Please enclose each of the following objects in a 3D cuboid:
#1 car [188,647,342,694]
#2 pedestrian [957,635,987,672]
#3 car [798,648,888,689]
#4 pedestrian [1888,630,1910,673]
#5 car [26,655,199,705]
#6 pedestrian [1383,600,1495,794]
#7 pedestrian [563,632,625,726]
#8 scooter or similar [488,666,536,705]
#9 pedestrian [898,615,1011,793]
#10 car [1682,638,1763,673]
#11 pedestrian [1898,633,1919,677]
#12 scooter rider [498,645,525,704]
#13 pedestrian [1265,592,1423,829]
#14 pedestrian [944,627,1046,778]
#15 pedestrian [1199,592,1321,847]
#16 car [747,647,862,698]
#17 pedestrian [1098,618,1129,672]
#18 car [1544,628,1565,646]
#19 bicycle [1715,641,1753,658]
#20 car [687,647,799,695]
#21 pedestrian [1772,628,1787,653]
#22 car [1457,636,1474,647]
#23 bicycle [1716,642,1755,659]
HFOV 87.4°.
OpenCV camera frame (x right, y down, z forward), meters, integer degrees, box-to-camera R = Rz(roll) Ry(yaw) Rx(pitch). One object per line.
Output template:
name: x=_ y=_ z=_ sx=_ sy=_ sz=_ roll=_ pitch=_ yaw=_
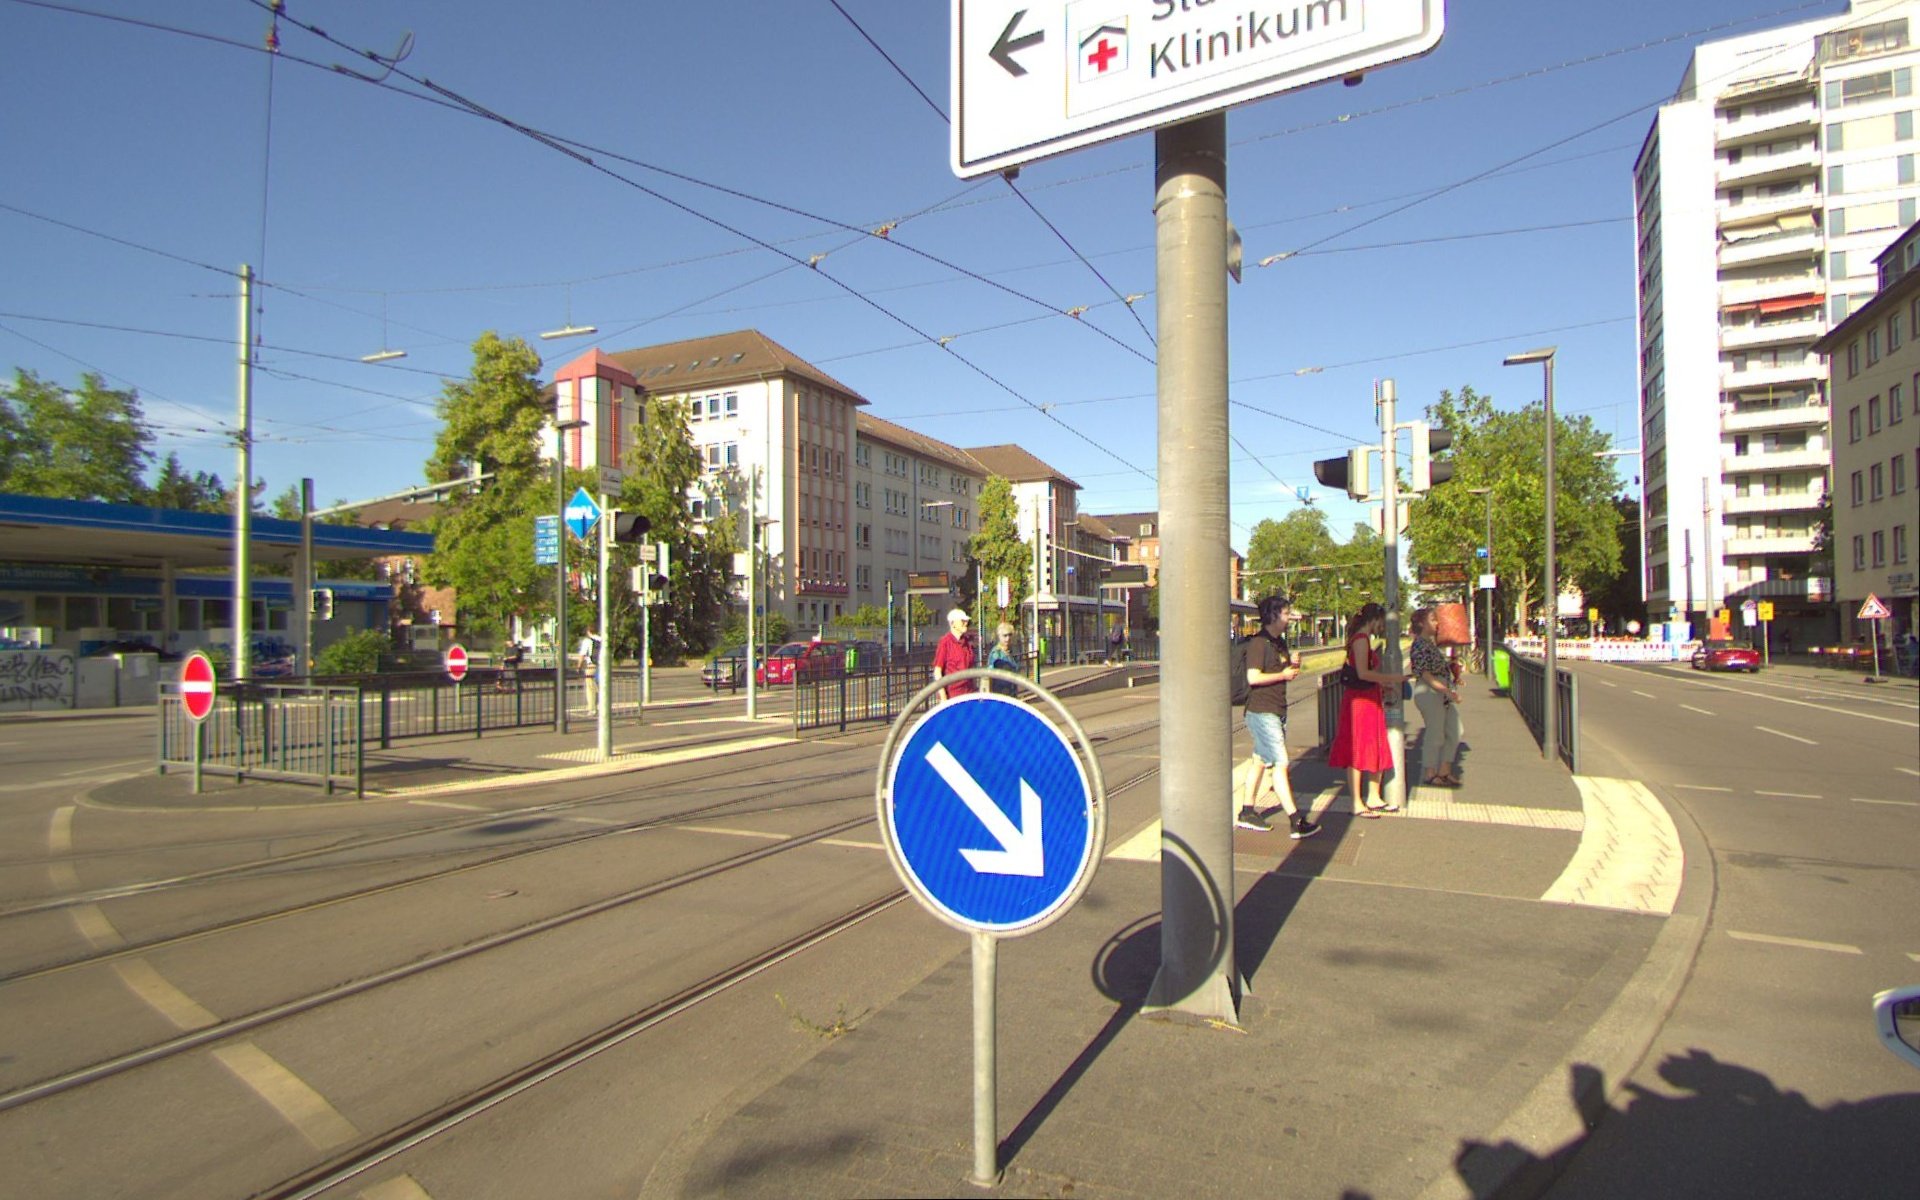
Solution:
car: x=-24.482 y=2.454 z=35.545 sx=1.685 sy=1.505 sz=4.216 roll=-2 pitch=-2 yaw=25
pedestrian: x=0.458 y=2.100 z=39.225 sx=1.024 sy=1.439 sz=0.578 roll=-1 pitch=-2 yaw=21
car: x=-4.668 y=2.737 z=40.738 sx=1.710 sy=1.539 sz=3.996 roll=-2 pitch=-2 yaw=27
pedestrian: x=36.331 y=1.985 z=38.874 sx=0.463 sy=1.665 sz=0.507 roll=-1 pitch=-2 yaw=28
car: x=-28.962 y=2.700 z=34.472 sx=1.685 sy=1.505 sz=4.216 roll=-2 pitch=-2 yaw=25
pedestrian: x=4.638 y=0.905 z=9.714 sx=0.810 sy=1.756 sz=0.786 roll=-2 pitch=-2 yaw=36
pedestrian: x=-7.030 y=1.498 z=19.320 sx=0.809 sy=1.756 sz=0.787 roll=-2 pitch=-2 yaw=31
scooter or similar: x=-14.683 y=2.794 z=32.930 sx=0.456 sy=1.198 sz=1.475 roll=-2 pitch=-2 yaw=26
pedestrian: x=-0.062 y=1.037 z=10.434 sx=0.819 sy=1.746 sz=0.838 roll=1 pitch=-2 yaw=-42
car: x=33.678 y=2.437 z=44.491 sx=1.905 sy=1.448 sz=3.998 roll=-1 pitch=-2 yaw=23
pedestrian: x=34.184 y=1.964 z=36.130 sx=0.499 sy=1.582 sz=0.465 roll=-1 pitch=-2 yaw=29
scooter rider: x=-14.696 y=2.432 z=32.933 sx=0.456 sy=1.926 sz=0.691 roll=-1 pitch=-2 yaw=27
pedestrian: x=3.090 y=0.843 z=8.092 sx=0.835 sy=1.756 sz=0.893 roll=1 pitch=-3 yaw=-45
pedestrian: x=0.405 y=1.142 z=11.593 sx=0.797 sy=1.652 sz=0.860 roll=-2 pitch=-2 yaw=43
pedestrian: x=2.203 y=0.840 z=7.363 sx=0.785 sy=1.756 sz=0.654 roll=-1 pitch=-2 yaw=19
car: x=-5.058 y=2.347 z=33.260 sx=1.685 sy=1.505 sz=4.216 roll=-2 pitch=-2 yaw=25
pedestrian: x=4.605 y=1.336 z=30.065 sx=0.726 sy=1.589 sz=0.588 roll=1 pitch=-2 yaw=-44
car: x=68.008 y=4.255 z=114.900 sx=1.965 sy=2.040 sz=3.991 roll=-1 pitch=-2 yaw=31
bicycle: x=50.239 y=3.222 z=65.206 sx=1.922 sy=1.081 sz=0.580 roll=-2 pitch=-2 yaw=43
car: x=-7.529 y=2.450 z=35.205 sx=1.710 sy=1.539 sz=3.996 roll=-2 pitch=-2 yaw=27
pedestrian: x=55.783 y=2.781 z=68.365 sx=0.666 sy=1.663 sz=0.577 roll=-2 pitch=-2 yaw=33
car: x=70.132 y=5.756 z=139.452 sx=1.937 sy=1.529 sz=3.998 roll=-1 pitch=-2 yaw=24
bicycle: x=49.825 y=3.242 z=64.535 sx=1.922 sy=1.081 sz=0.580 roll=-2 pitch=-2 yaw=43
